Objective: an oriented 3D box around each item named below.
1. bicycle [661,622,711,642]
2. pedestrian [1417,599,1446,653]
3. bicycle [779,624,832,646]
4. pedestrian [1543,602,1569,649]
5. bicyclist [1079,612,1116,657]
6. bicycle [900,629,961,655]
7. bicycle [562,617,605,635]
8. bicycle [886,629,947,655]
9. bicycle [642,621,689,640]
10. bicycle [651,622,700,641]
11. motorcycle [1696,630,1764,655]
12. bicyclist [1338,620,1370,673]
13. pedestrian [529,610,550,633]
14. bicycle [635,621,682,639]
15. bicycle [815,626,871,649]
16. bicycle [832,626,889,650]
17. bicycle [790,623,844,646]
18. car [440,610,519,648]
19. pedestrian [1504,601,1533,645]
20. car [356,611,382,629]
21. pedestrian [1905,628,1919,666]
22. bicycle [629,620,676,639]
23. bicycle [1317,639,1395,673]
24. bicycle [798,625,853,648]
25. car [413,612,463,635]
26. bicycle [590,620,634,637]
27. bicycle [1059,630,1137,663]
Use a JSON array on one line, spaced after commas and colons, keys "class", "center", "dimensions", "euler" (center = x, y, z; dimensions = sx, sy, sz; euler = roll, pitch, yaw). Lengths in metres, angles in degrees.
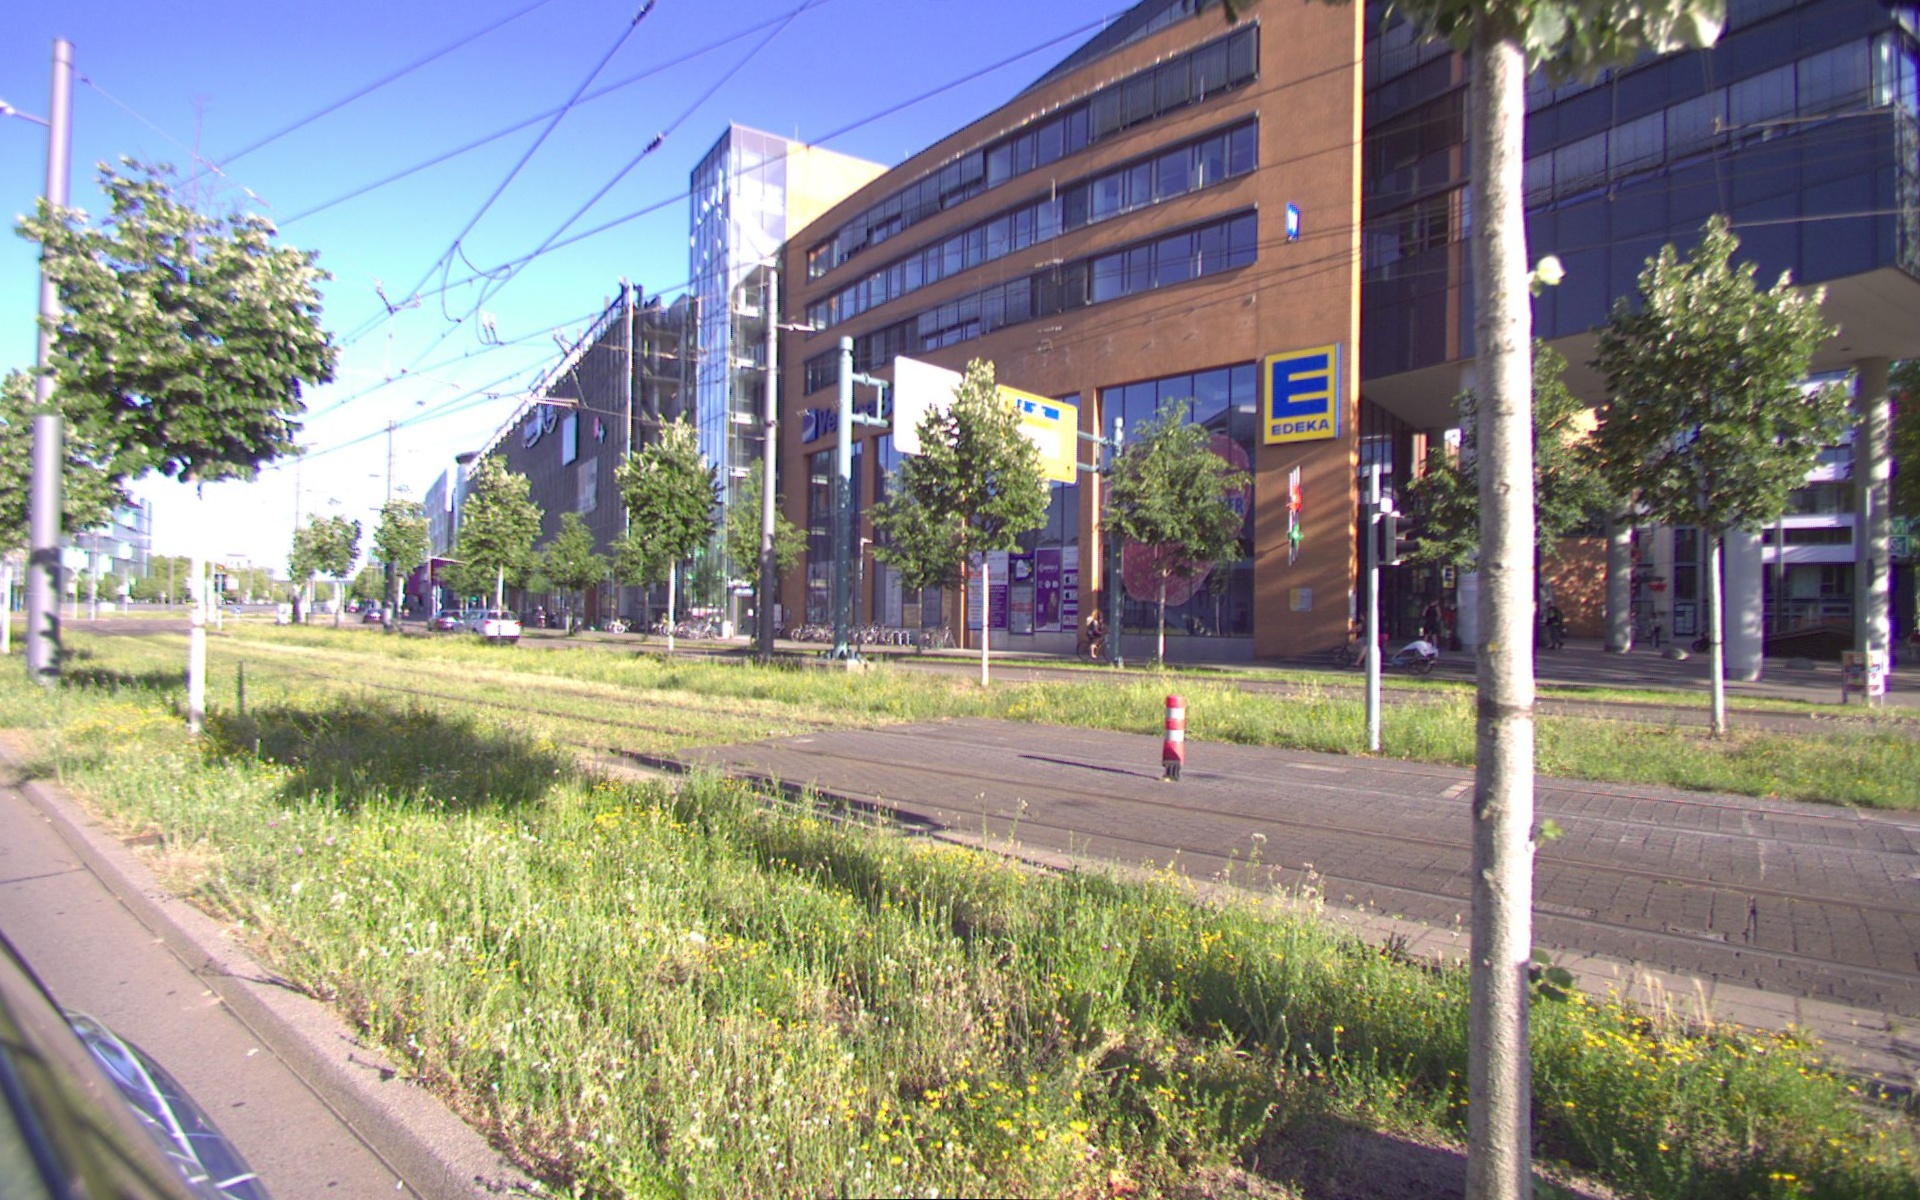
[{"class": "bicycle", "center": [-15.890, 1.863, 58.690], "dimensions": [2.648, 1.112, 0.897], "euler": [2, -2, -38]}, {"class": "pedestrian", "center": [15.218, 0.832, 32.668], "dimensions": [0.698, 1.718, 0.724], "euler": [0, -2, 40]}, {"class": "bicycle", "center": [-8.039, 1.803, 52.708], "dimensions": [2.648, 1.112, 0.897], "euler": [2, -2, -38]}, {"class": "pedestrian", "center": [21.995, 0.924, 37.353], "dimensions": [0.698, 1.718, 0.724], "euler": [0, -2, 40]}, {"class": "bicyclist", "center": [4.820, 1.195, 35.456], "dimensions": [0.939, 1.560, 0.883], "euler": [-1, -2, 42]}, {"class": "bicycle", "center": [-1.250, 1.805, 43.756], "dimensions": [2.648, 1.112, 0.897], "euler": [2, -2, -38]}, {"class": "bicycle", "center": [-26.678, 1.850, 71.733], "dimensions": [2.648, 1.198, 0.897], "euler": [2, -2, -38]}, {"class": "bicycle", "center": [-1.902, 1.827, 44.577], "dimensions": [2.648, 1.112, 0.897], "euler": [2, -2, -38]}, {"class": "bicycle", "center": [-17.965, 1.846, 61.764], "dimensions": [2.648, 1.112, 0.897], "euler": [2, -2, -38]}, {"class": "bicycle", "center": [-16.965, 1.854, 60.319], "dimensions": [2.648, 1.112, 0.897], "euler": [2, -2, -38]}, {"class": "motorcycle", "center": [34.566, 1.909, 45.461], "dimensions": [0.819, 1.066, 2.347], "euler": [1, -1, -40]}, {"class": "bicyclist", "center": [11.774, 1.372, 30.263], "dimensions": [0.702, 1.541, 0.682], "euler": [0, -1, 40]}, {"class": "pedestrian", "center": [-32.087, 1.627, 77.212], "dimensions": [1.093, 1.694, 1.059], "euler": [0, -1, 35]}, {"class": "bicycle", "center": [-18.602, 1.843, 62.521], "dimensions": [2.648, 1.112, 0.827], "euler": [2, -2, -38]}, {"class": "bicycle", "center": [-5.685, 1.807, 49.261], "dimensions": [2.648, 1.112, 0.897], "euler": [2, -2, -38]}, {"class": "bicycle", "center": [-4.718, 1.811, 48.331], "dimensions": [2.648, 1.112, 0.897], "euler": [2, -2, -38]}, {"class": "bicycle", "center": [-7.314, 1.762, 51.770], "dimensions": [2.648, 1.112, 0.897], "euler": [2, -2, -38]}, {"class": "car", "center": [-20.942, 1.225, 44.018], "dimensions": [1.603, 1.539, 4.806], "euler": [2, -1, -45]}, {"class": "pedestrian", "center": [20.723, 0.857, 37.577], "dimensions": [0.688, 1.635, 0.735], "euler": [1, -1, -37]}, {"class": "car", "center": [-54.470, 1.820, 93.271], "dimensions": [1.600, 1.539, 4.366], "euler": [3, -2, -36]}, {"class": "pedestrian", "center": [43.763, 2.130, 46.295], "dimensions": [0.698, 1.727, 0.724], "euler": [0, -1, 38]}, {"class": "bicycle", "center": [-19.215, 1.844, 63.206], "dimensions": [2.648, 1.112, 0.897], "euler": [2, -2, -38]}, {"class": "bicycle", "center": [11.820, 1.656, 30.221], "dimensions": [2.066, 0.957, 0.682], "euler": [0, -1, 41]}, {"class": "bicycle", "center": [-6.714, 1.800, 50.581], "dimensions": [2.648, 1.112, 0.897], "euler": [2, -2, -38]}, {"class": "car", "center": [-36.318, 1.645, 70.332], "dimensions": [4.354, 1.539, 1.604], "euler": [0, -2, 42]}, {"class": "bicycle", "center": [-23.138, 1.890, 67.299], "dimensions": [2.648, 1.112, 0.897], "euler": [2, -2, -38]}, {"class": "bicycle", "center": [4.821, 1.622, 35.443], "dimensions": [2.691, 1.112, 0.883], "euler": [-1, -2, 42]}]
